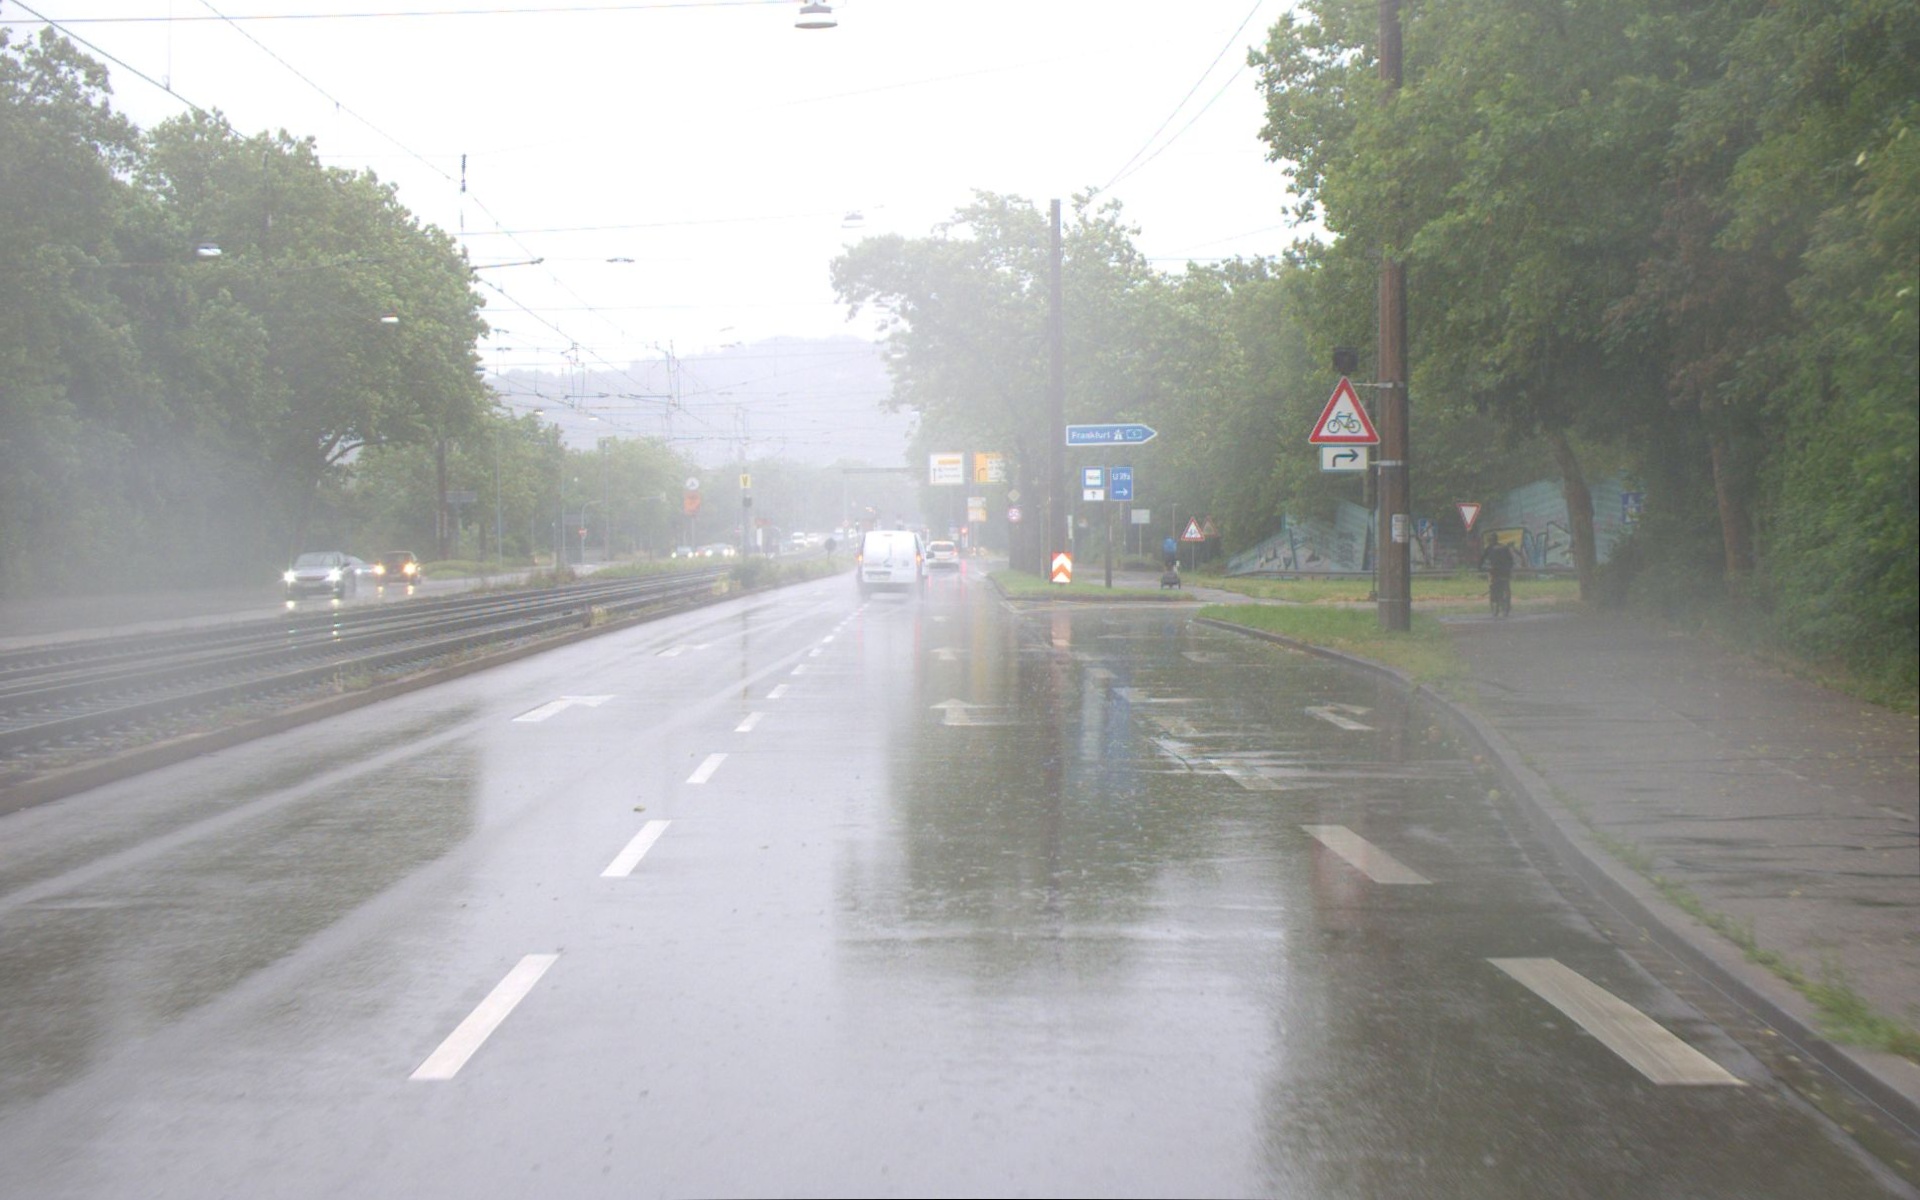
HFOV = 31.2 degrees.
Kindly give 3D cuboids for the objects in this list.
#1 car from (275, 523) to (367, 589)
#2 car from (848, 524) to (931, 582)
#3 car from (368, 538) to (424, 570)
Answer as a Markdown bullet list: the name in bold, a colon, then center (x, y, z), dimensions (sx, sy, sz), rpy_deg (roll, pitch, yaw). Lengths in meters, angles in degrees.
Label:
- **car**: center (-19.174, -1.339, 103.344), dimensions (1.993, 1.776, 4.001), rpy_deg (4, 2, -1)
- **car**: center (-1.826, -1.255, 90.002), dimensions (2.077, 1.415, 4.000), rpy_deg (-2, 1, -1)
- **car**: center (-23.976, -1.957, 146.210), dimensions (1.771, 1.326, 4.381), rpy_deg (0, 1, -2)
